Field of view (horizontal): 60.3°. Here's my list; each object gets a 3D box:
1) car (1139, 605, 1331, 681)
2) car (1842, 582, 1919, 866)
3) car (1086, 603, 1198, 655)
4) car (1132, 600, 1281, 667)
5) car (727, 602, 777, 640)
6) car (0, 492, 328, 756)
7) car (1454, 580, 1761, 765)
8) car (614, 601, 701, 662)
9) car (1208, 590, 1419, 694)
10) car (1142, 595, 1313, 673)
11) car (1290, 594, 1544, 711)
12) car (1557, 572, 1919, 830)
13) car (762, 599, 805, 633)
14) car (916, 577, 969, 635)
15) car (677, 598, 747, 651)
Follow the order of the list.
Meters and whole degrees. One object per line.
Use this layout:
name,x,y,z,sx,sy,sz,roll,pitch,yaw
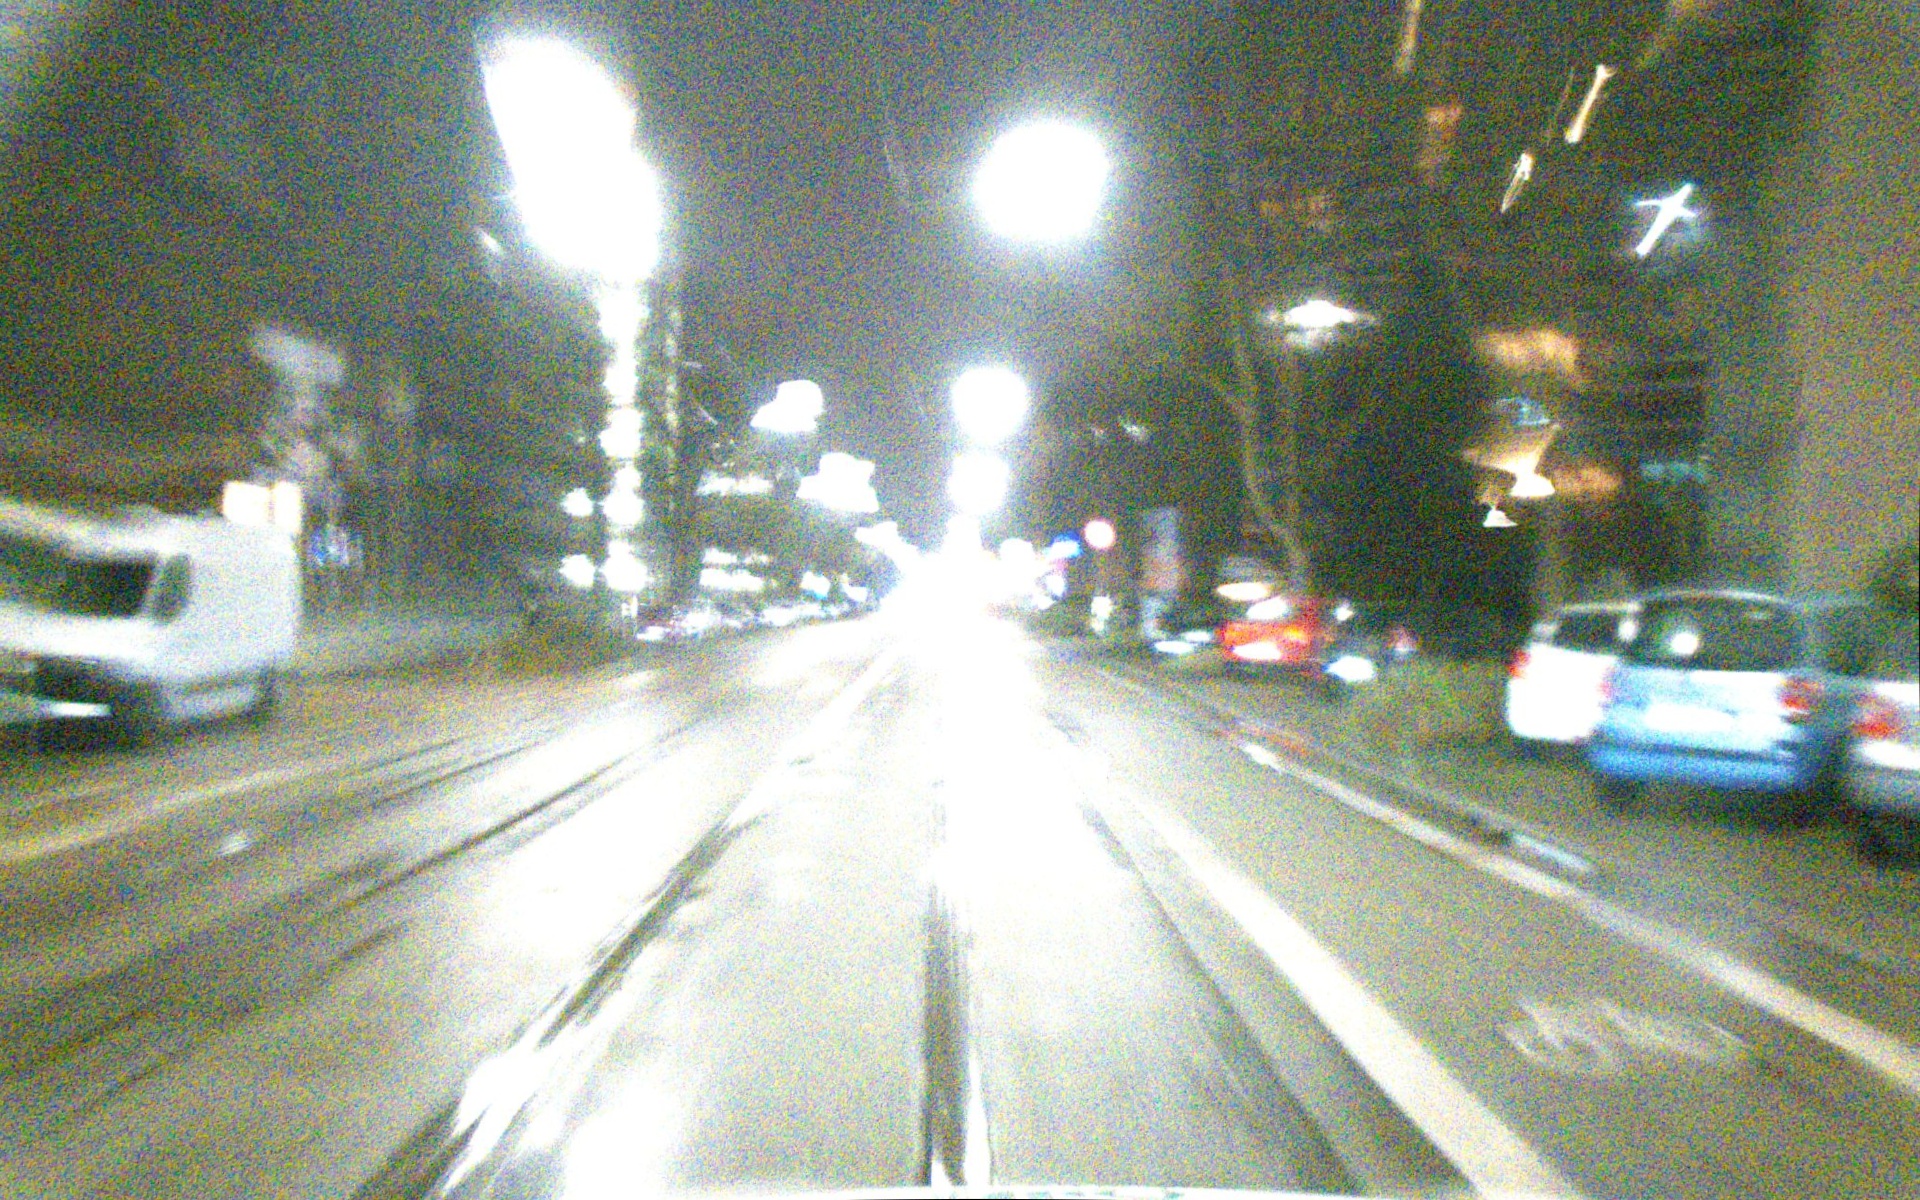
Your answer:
car,5.855,0.903,34.937,1.919,1.480,4.217,1,0,45
car,6.654,0.696,9.563,1.790,1.458,3.830,1,0,43
car,6.033,0.973,54.600,1.874,1.600,3.944,1,0,38
car,6.388,0.858,42.552,1.878,1.600,3.936,1,0,43
car,-10.195,1.036,81.317,1.982,1.791,3.999,2,-1,-1
car,-9.232,0.204,18.976,1.984,2.542,5.604,2,0,-3
car,6.529,0.667,16.478,1.673,1.560,3.731,3,1,41
car,-9.619,0.994,52.929,2.066,1.795,4.962,2,-1,-3
car,6.225,0.723,28.905,2.018,1.652,3.807,1,0,41
car,6.424,0.804,39.460,1.995,1.728,4.220,1,0,43
car,6.312,0.679,22.662,3.797,1.455,1.612,1,0,-43
car,6.148,0.631,12.063,3.856,1.560,1.793,1,0,-43
car,-9.845,0.896,92.476,1.982,1.791,3.999,2,-1,-1
car,-0.804,0.265,74.060,2.172,2.484,5.381,1,0,-3
car,-9.161,0.905,61.371,1.959,1.816,3.999,2,-1,-1
